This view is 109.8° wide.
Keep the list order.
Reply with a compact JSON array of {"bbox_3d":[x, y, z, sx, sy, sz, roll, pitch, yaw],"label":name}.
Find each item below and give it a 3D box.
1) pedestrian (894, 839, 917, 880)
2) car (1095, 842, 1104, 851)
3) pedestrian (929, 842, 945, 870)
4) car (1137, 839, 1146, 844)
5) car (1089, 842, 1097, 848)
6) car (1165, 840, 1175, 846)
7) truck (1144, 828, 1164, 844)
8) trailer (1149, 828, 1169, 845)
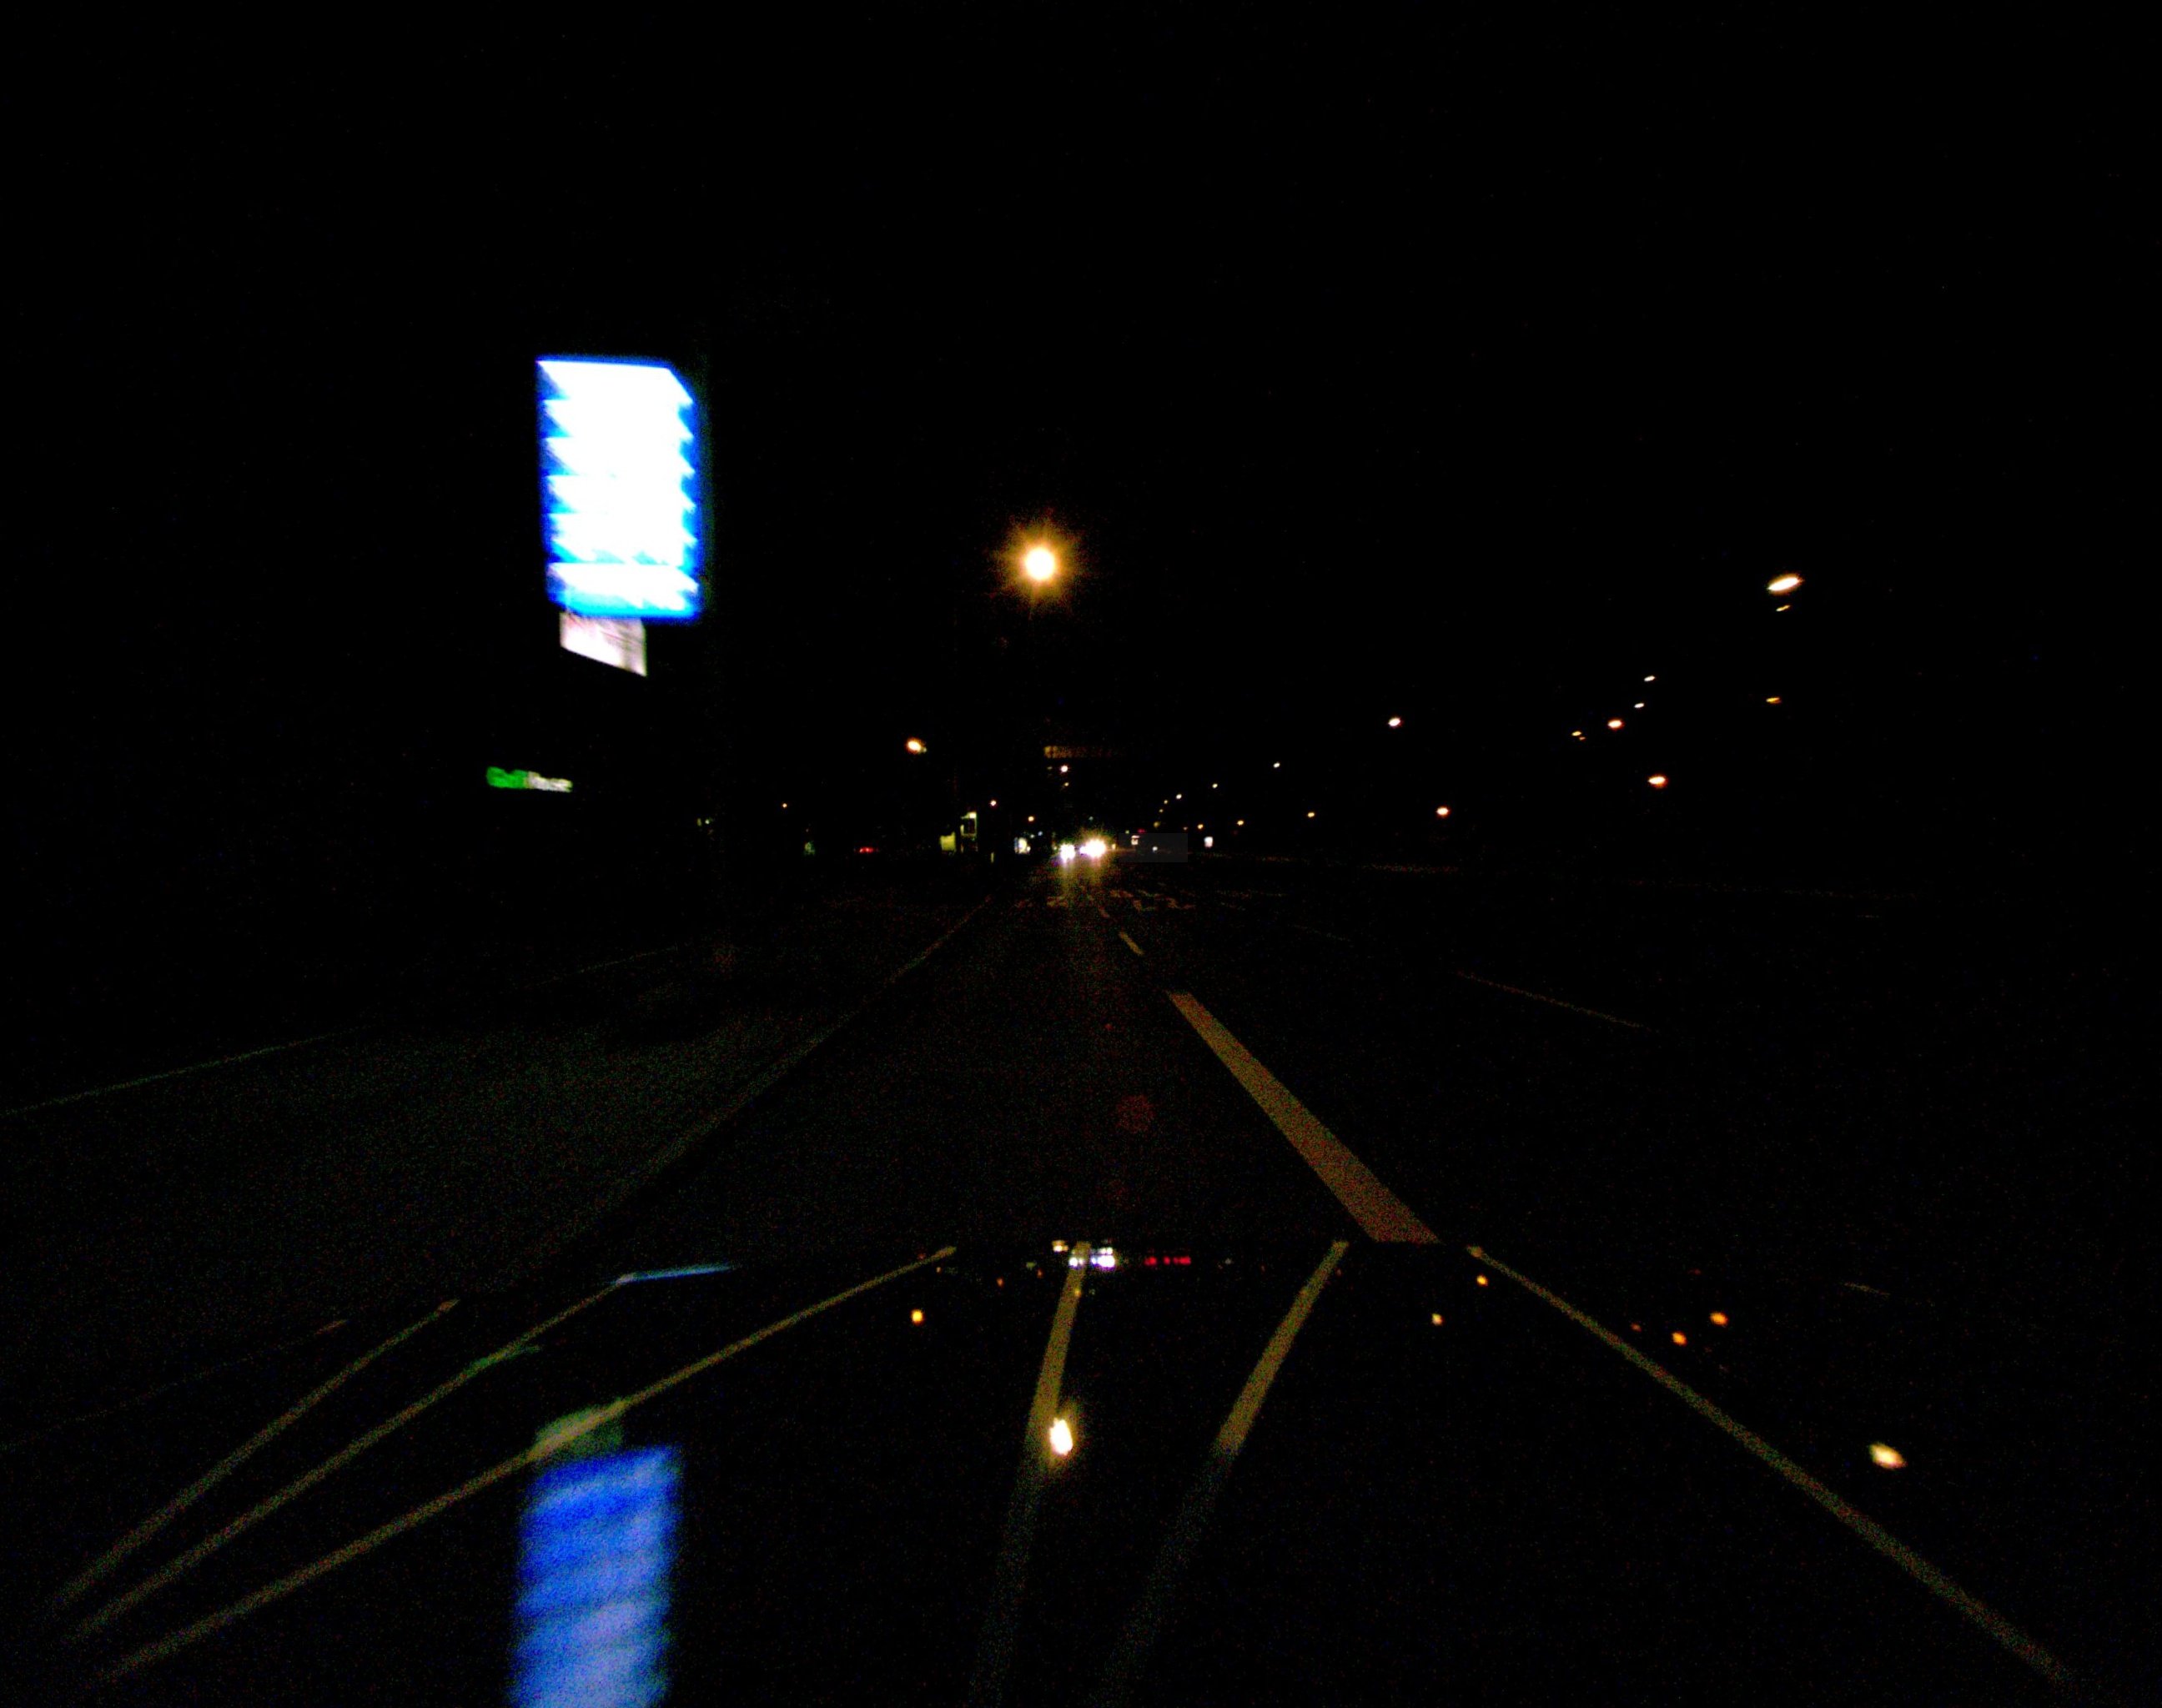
[{"bbox_3d":[-8.311,0.233,36.020,0.806,1.902,0.793,1,2,7],"label":"pedestrian"},{"bbox_3d":[4.593,-1.817,186.665,1.794,2.002,4.000,-2,2,5],"label":"car"},{"bbox_3d":[-9.046,0.106,47.747,0.855,1.697,0.957,2,2,-2],"label":"pedestrian"},{"bbox_3d":[16.977,-3.473,212.981,1.809,1.490,4.082,-2,2,-3],"label":"car"},{"bbox_3d":[3.397,-2.506,215.562,1.991,1.473,4.202,0,1,-1],"label":"car"},{"bbox_3d":[21.927,-2.621,187.305,1.991,1.473,4.202,0,1,-1],"label":"car"},{"bbox_3d":[18.573,-4.577,194.296,3.691,3.932,10.415,-3,2,-2],"label":"truck"},{"bbox_3d":[18.903,-4.281,184.925,3.706,3.967,8.391,-3,2,-1],"label":"trailer"}]
